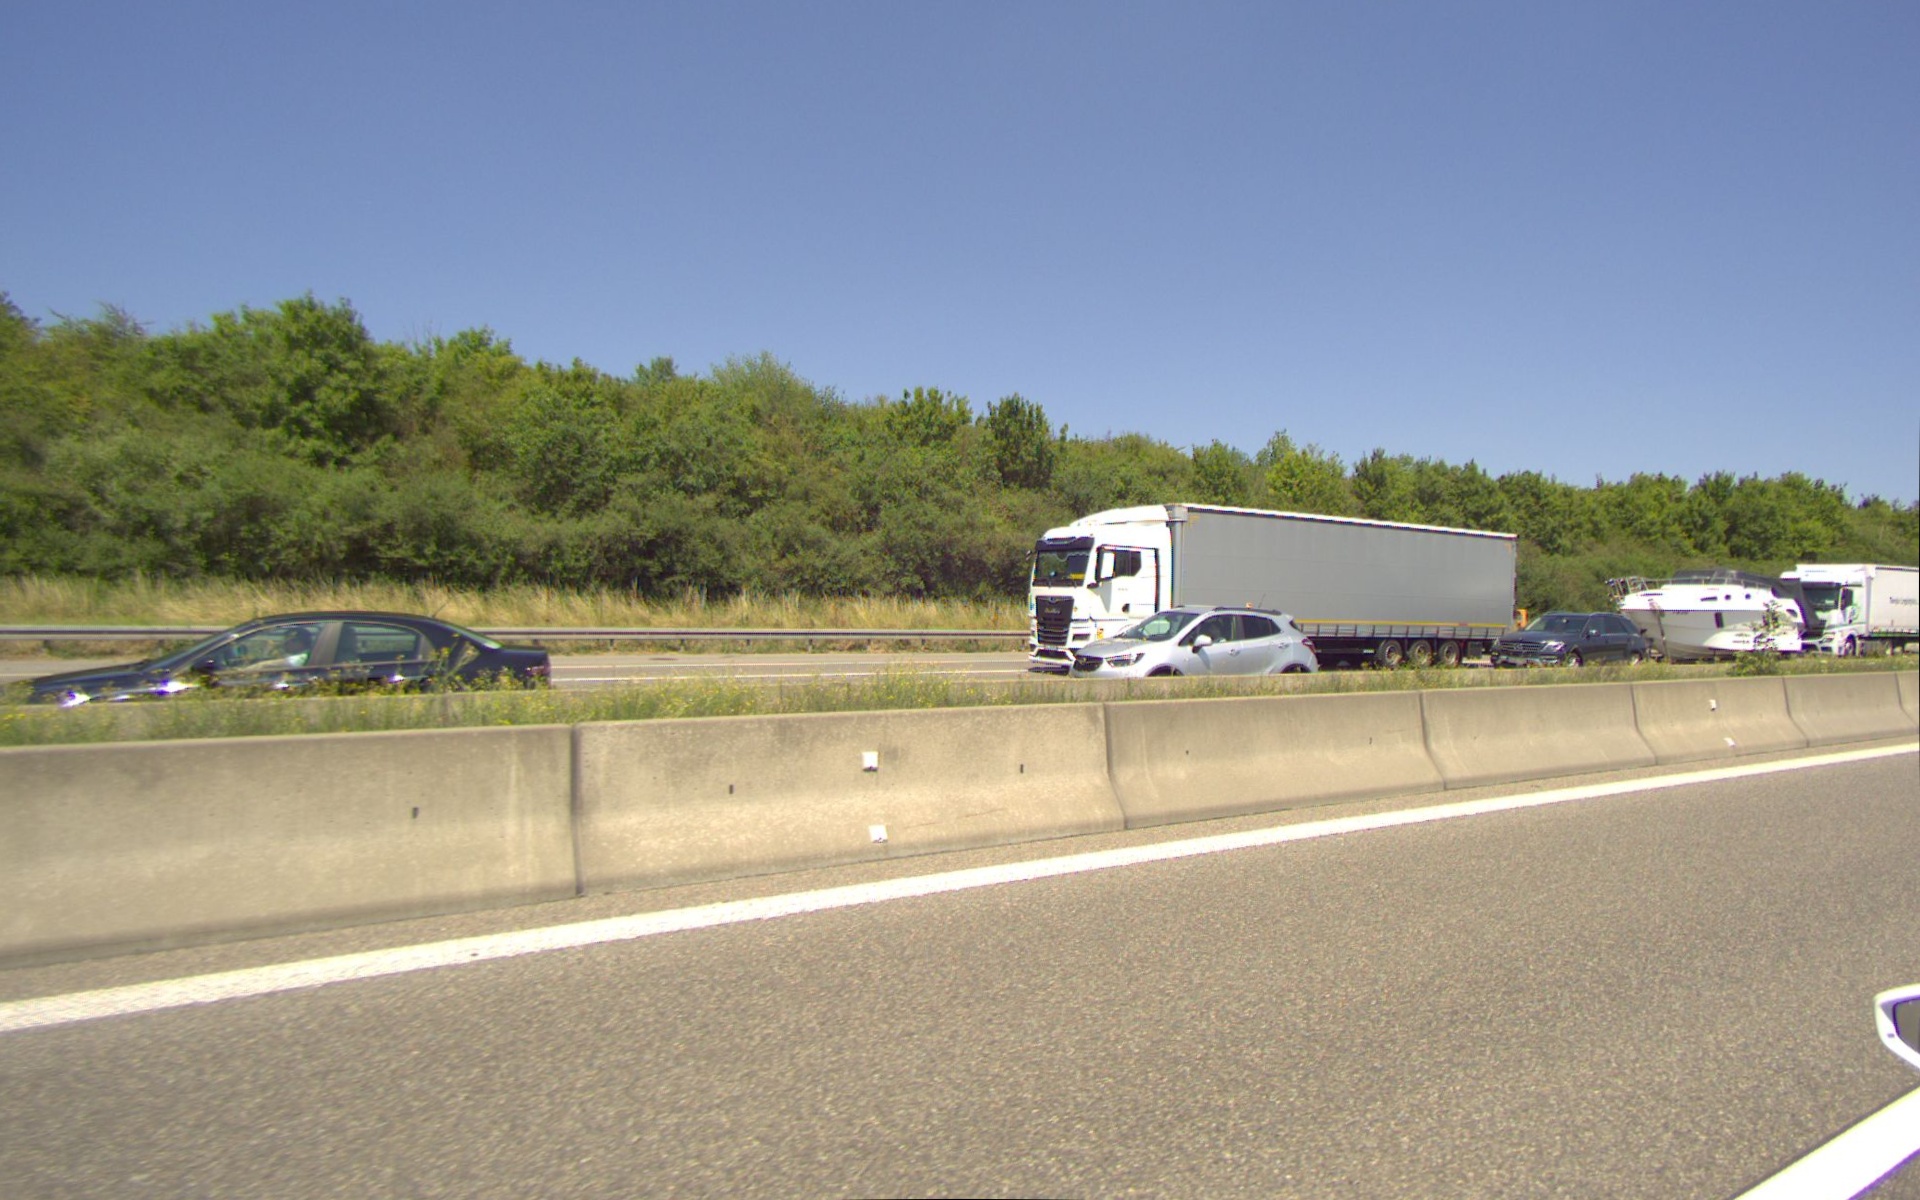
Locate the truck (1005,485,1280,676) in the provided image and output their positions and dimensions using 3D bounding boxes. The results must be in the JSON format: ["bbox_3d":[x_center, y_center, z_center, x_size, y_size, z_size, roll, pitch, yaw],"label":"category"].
[{"bbox_3d":[4.550,-0.376,24.959,6.110,4.187,3.184,1,0,-30],"label":"truck"}]

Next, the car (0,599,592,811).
[{"bbox_3d":[-5.801,0.811,9.204,4.259,1.540,1.983,2,-1,-32],"label":"car"}]

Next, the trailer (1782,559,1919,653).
[{"bbox_3d":[43.353,0.361,46.786,13.705,3.925,2.891,1,0,-29],"label":"trailer"}]

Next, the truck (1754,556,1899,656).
[{"bbox_3d":[37.613,0.278,43.583,5.900,4.060,2.836,1,0,-29],"label":"truck"}]

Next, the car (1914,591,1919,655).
[{"bbox_3d":[42.374,0.987,41.638,7.479,2.608,1.889,1,0,-29],"label":"car"}]

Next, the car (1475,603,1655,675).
[{"bbox_3d":[16.041,1.012,26.590,4.876,1.746,2.096,2,-1,-32],"label":"car"}]

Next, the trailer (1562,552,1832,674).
[{"bbox_3d":[22.672,0.480,30.610,10.610,3.226,2.854,2,0,-32],"label":"trailer"}]

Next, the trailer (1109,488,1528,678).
[{"bbox_3d":[10.630,-0.279,28.608,13.616,4.480,3.207,1,0,-30],"label":"trailer"}]

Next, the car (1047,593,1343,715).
[{"bbox_3d":[3.728,0.808,15.834,4.383,1.699,1.835,1,-1,-26],"label":"car"}]
